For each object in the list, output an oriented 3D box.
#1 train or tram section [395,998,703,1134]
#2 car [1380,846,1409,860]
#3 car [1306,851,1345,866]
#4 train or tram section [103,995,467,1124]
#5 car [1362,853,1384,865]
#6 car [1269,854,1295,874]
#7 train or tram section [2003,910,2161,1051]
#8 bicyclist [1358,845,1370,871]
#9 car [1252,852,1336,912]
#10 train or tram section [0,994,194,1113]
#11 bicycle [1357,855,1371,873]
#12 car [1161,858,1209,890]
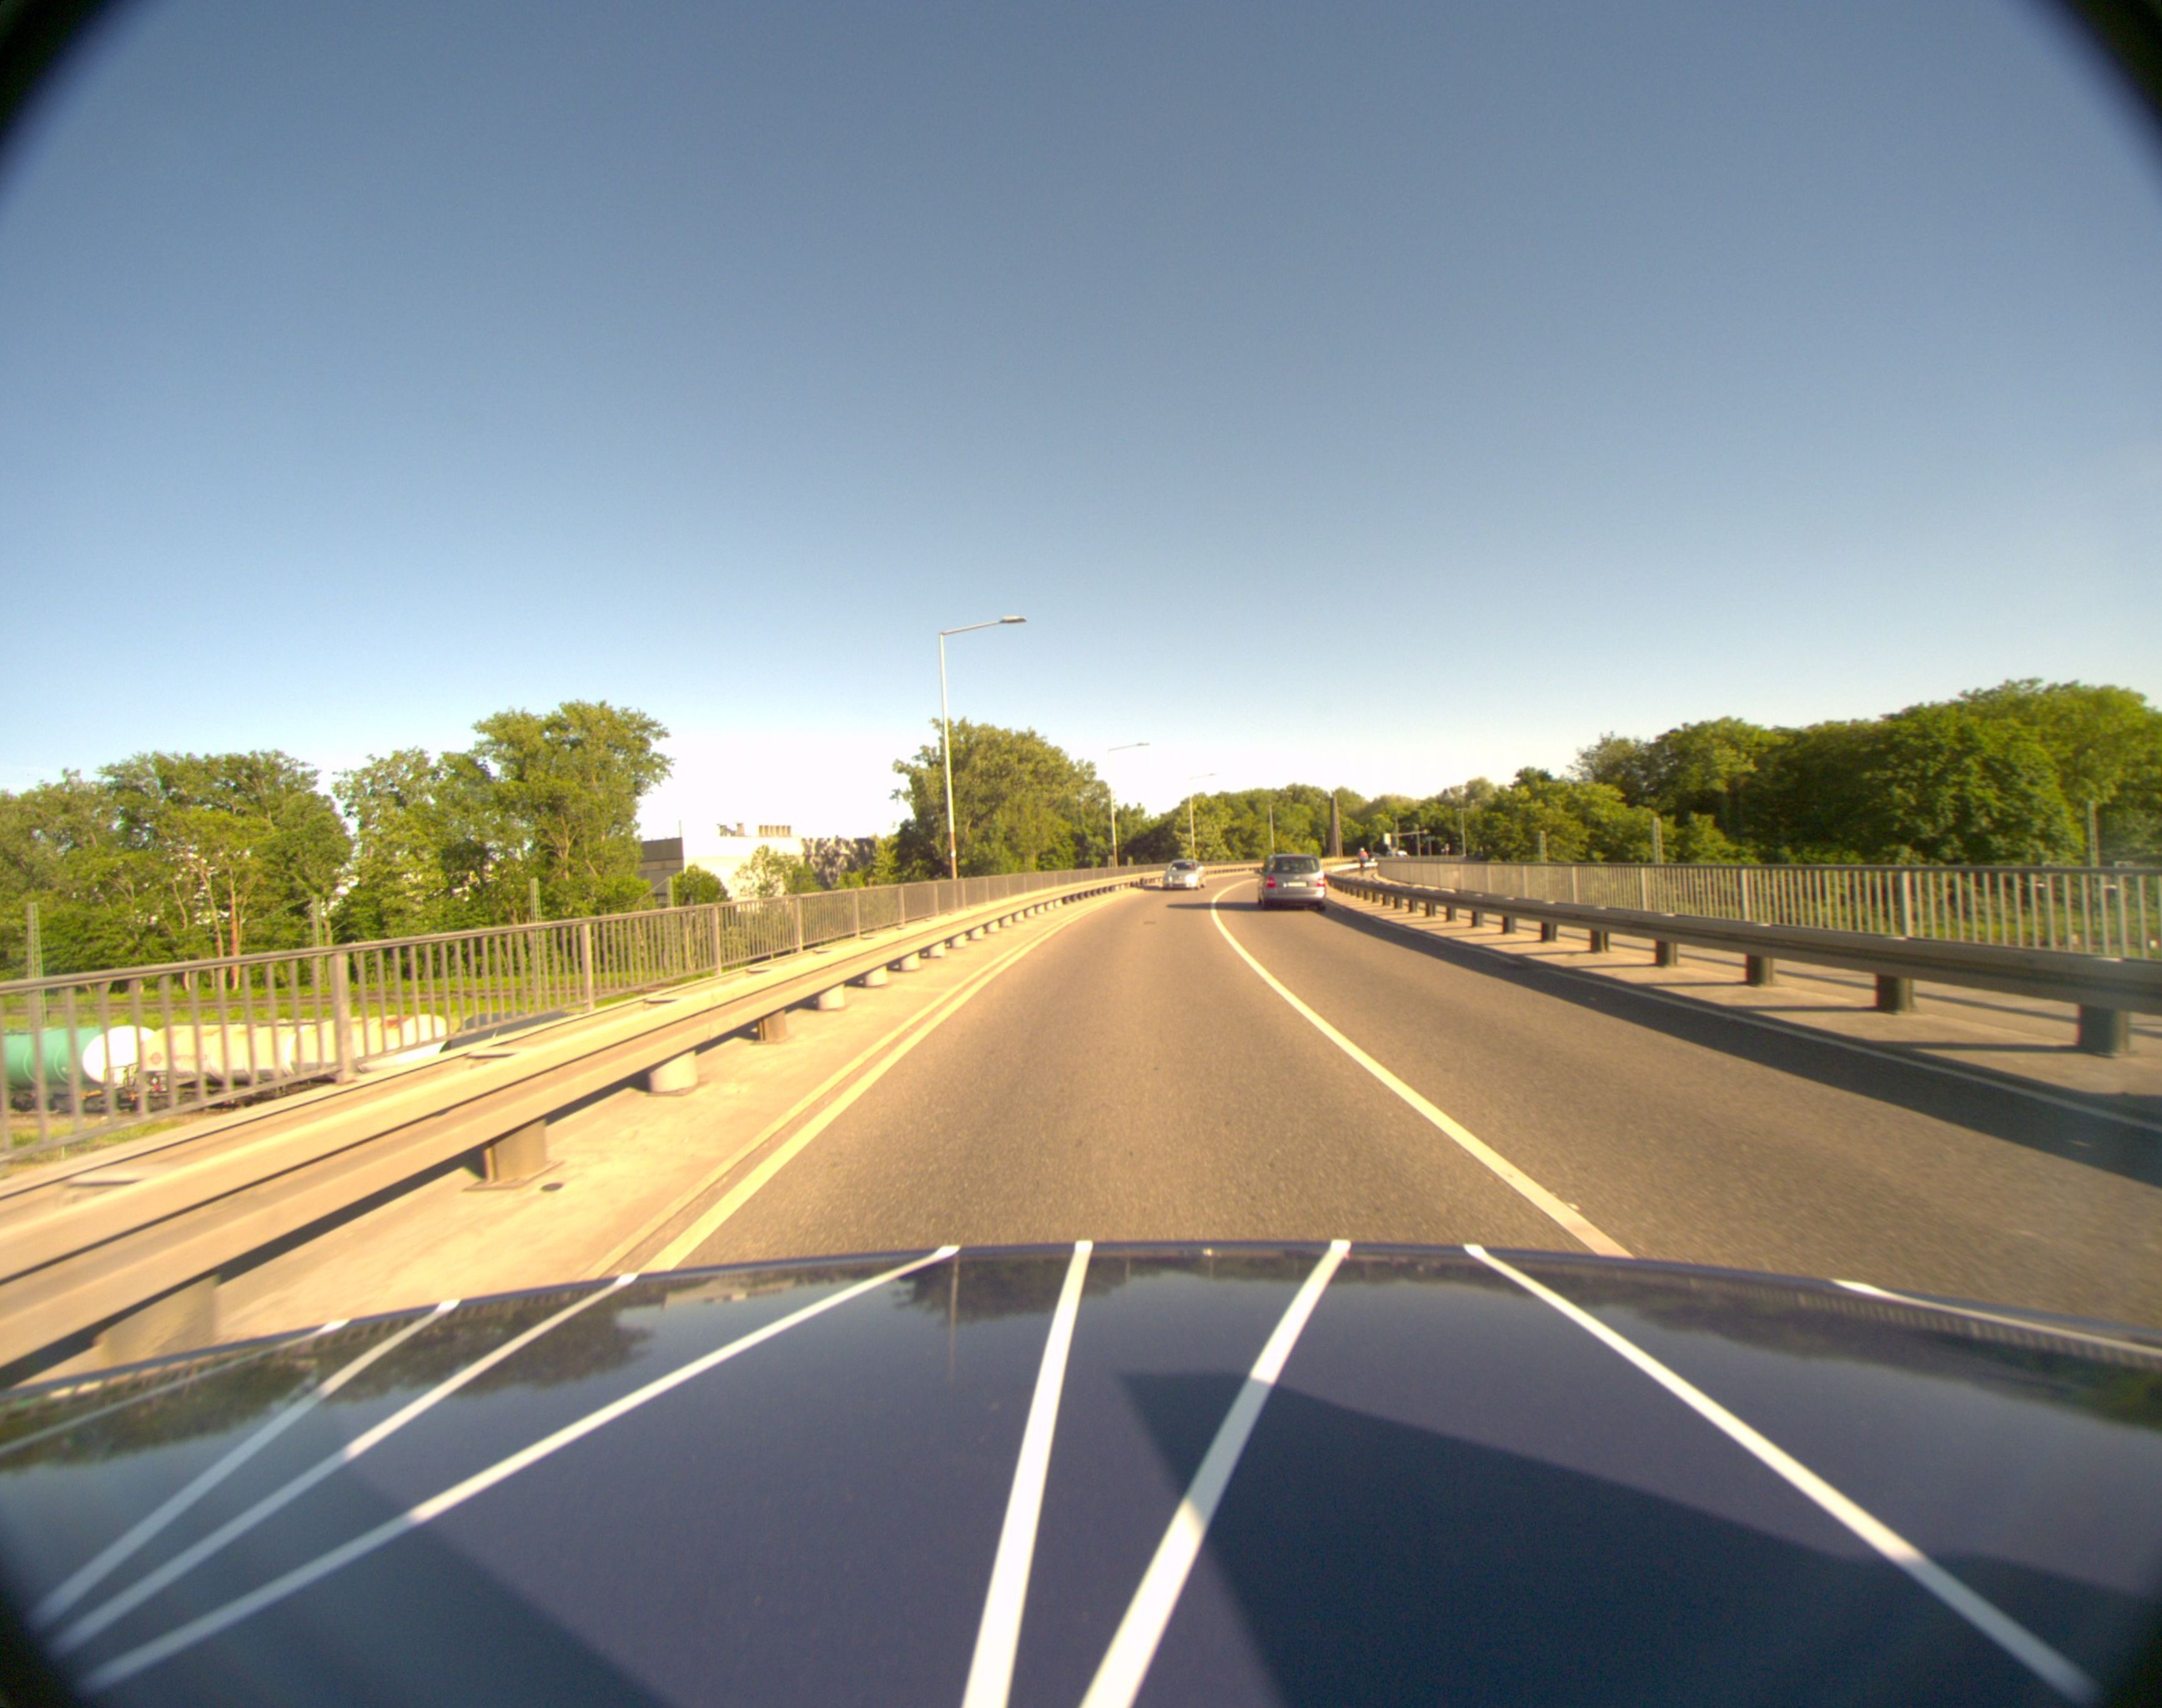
[{"bbox_3d":[-25.010,9.802,35.937,13.066,5.234,3.339,-1,0,8],"label":"train or tram section"},{"bbox_3d":[63.948,-0.201,155.282,2.117,2.484,5.698,-1,-2,-20],"label":"car"},{"bbox_3d":[24.951,0.467,77.568,4.138,1.465,1.989,-1,0,-43],"label":"car"},{"bbox_3d":[-39.808,10.059,38.086,16.857,5.231,3.339,-1,0,8],"label":"train or tram section"},{"bbox_3d":[38.745,0.655,100.785,1.918,1.608,3.750,-1,0,33],"label":"car"},{"bbox_3d":[14.556,0.721,54.939,1.747,1.347,4.187,-1,0,15],"label":"car"},{"bbox_3d":[44.880,4.424,27.253,16.745,4.564,3.908,-1,0,8],"label":"train or tram section"},{"bbox_3d":[17.427,0.228,46.777,0.654,1.580,0.769,-1,1,24],"label":"bicyclist"},{"bbox_3d":[6.246,0.751,22.671,1.852,1.614,4.105,-1,0,8],"label":"car"},{"bbox_3d":[-55.667,10.391,40.439,15.158,5.153,3.339,-1,0,8],"label":"train or tram section"},{"bbox_3d":[17.416,0.604,46.743,0.654,1.058,1.893,-1,0,25],"label":"bicycle"},{"bbox_3d":[5.214,0.951,37.653,1.762,1.428,4.335,-1,0,16],"label":"car"}]
